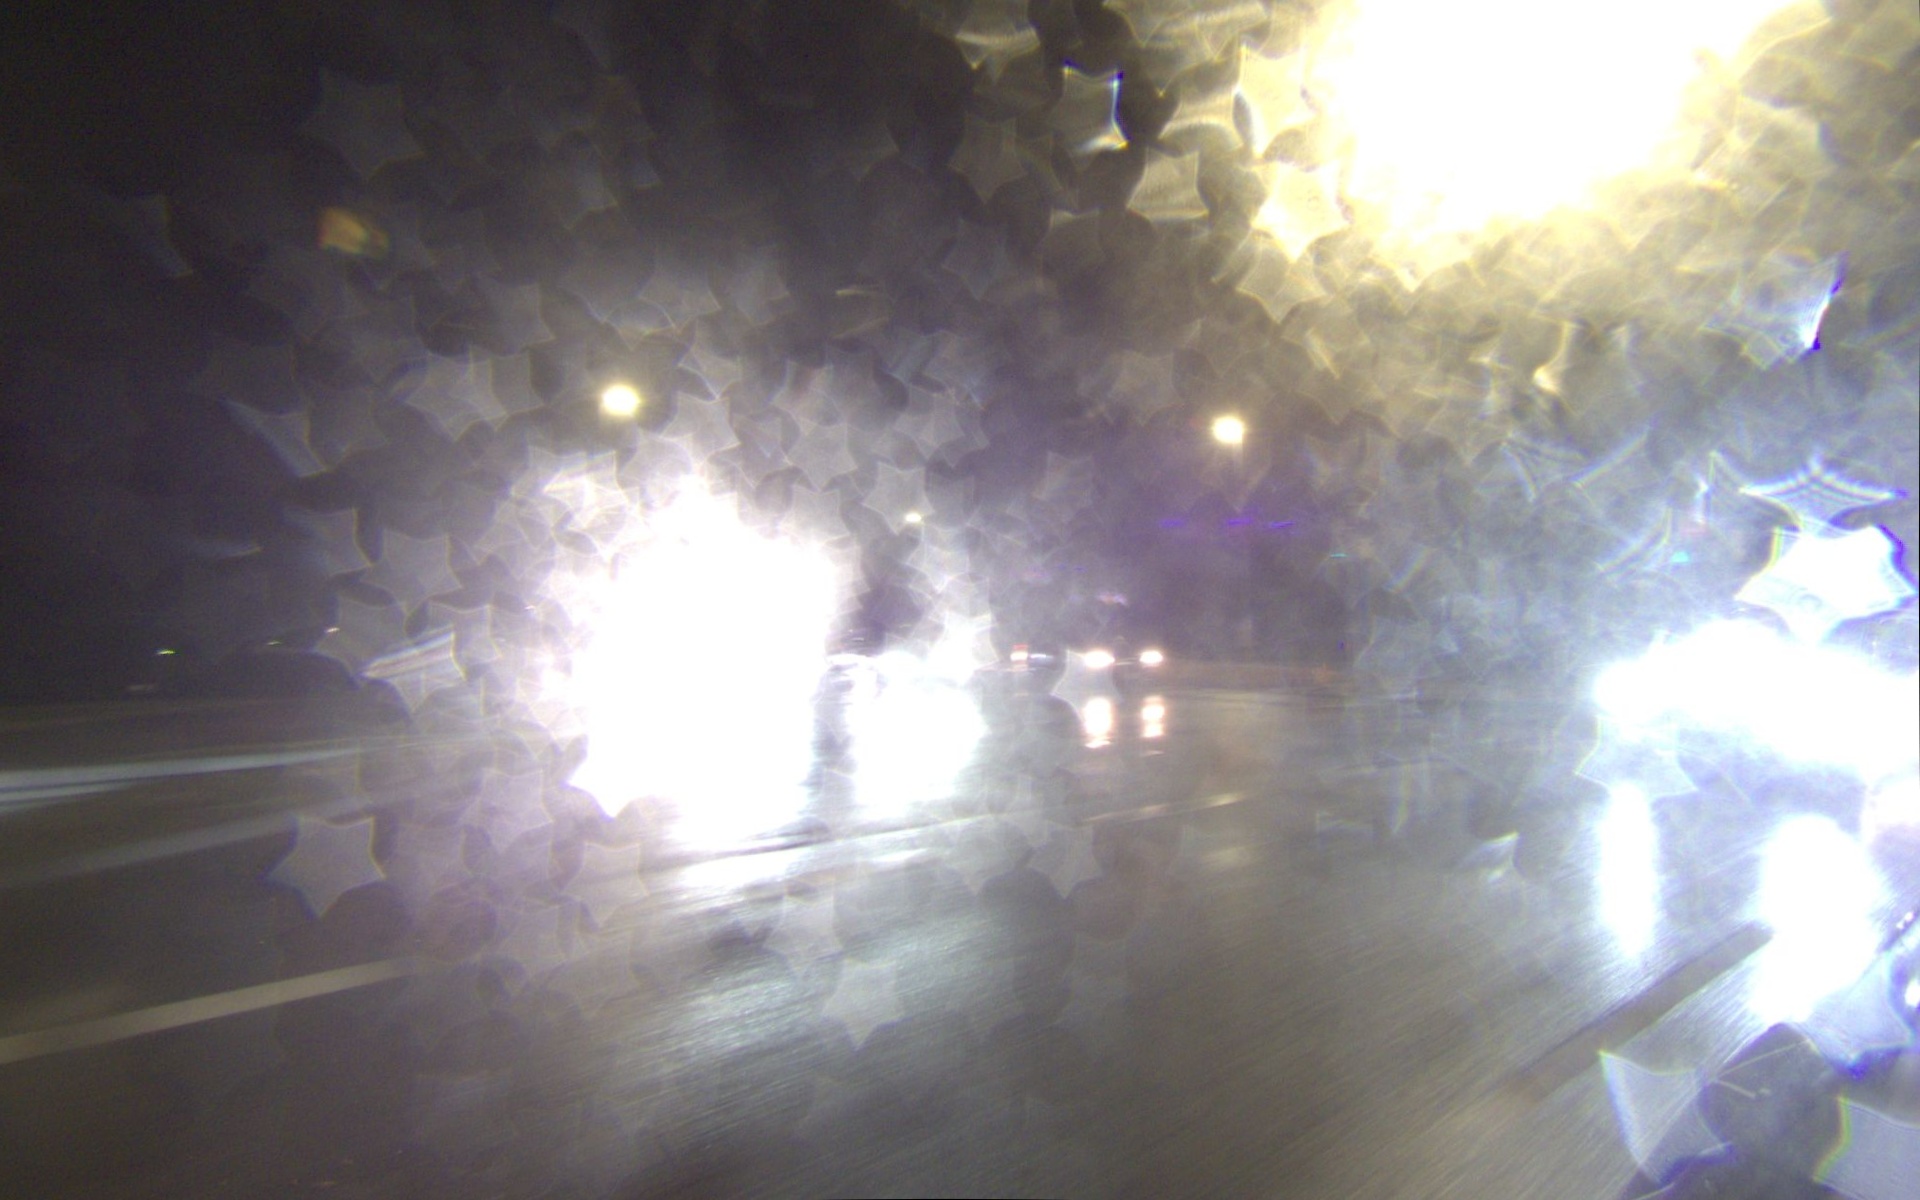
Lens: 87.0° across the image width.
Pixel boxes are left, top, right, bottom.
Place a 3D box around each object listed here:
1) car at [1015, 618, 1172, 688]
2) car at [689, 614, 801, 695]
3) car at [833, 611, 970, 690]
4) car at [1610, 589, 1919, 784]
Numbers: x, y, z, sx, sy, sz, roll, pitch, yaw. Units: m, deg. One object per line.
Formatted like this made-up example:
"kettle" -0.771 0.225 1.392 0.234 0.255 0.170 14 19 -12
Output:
"car" 2.789 1.107 22.088 1.710 1.363 4.062 0 -2 -20
"car" -4.719 1.099 21.741 1.818 1.539 4.185 0 -2 -20
"car" -1.424 1.054 22.322 1.818 1.539 4.505 0 -2 -20
"car" 8.329 0.683 9.852 4.471 1.526 1.678 0 -2 -34
